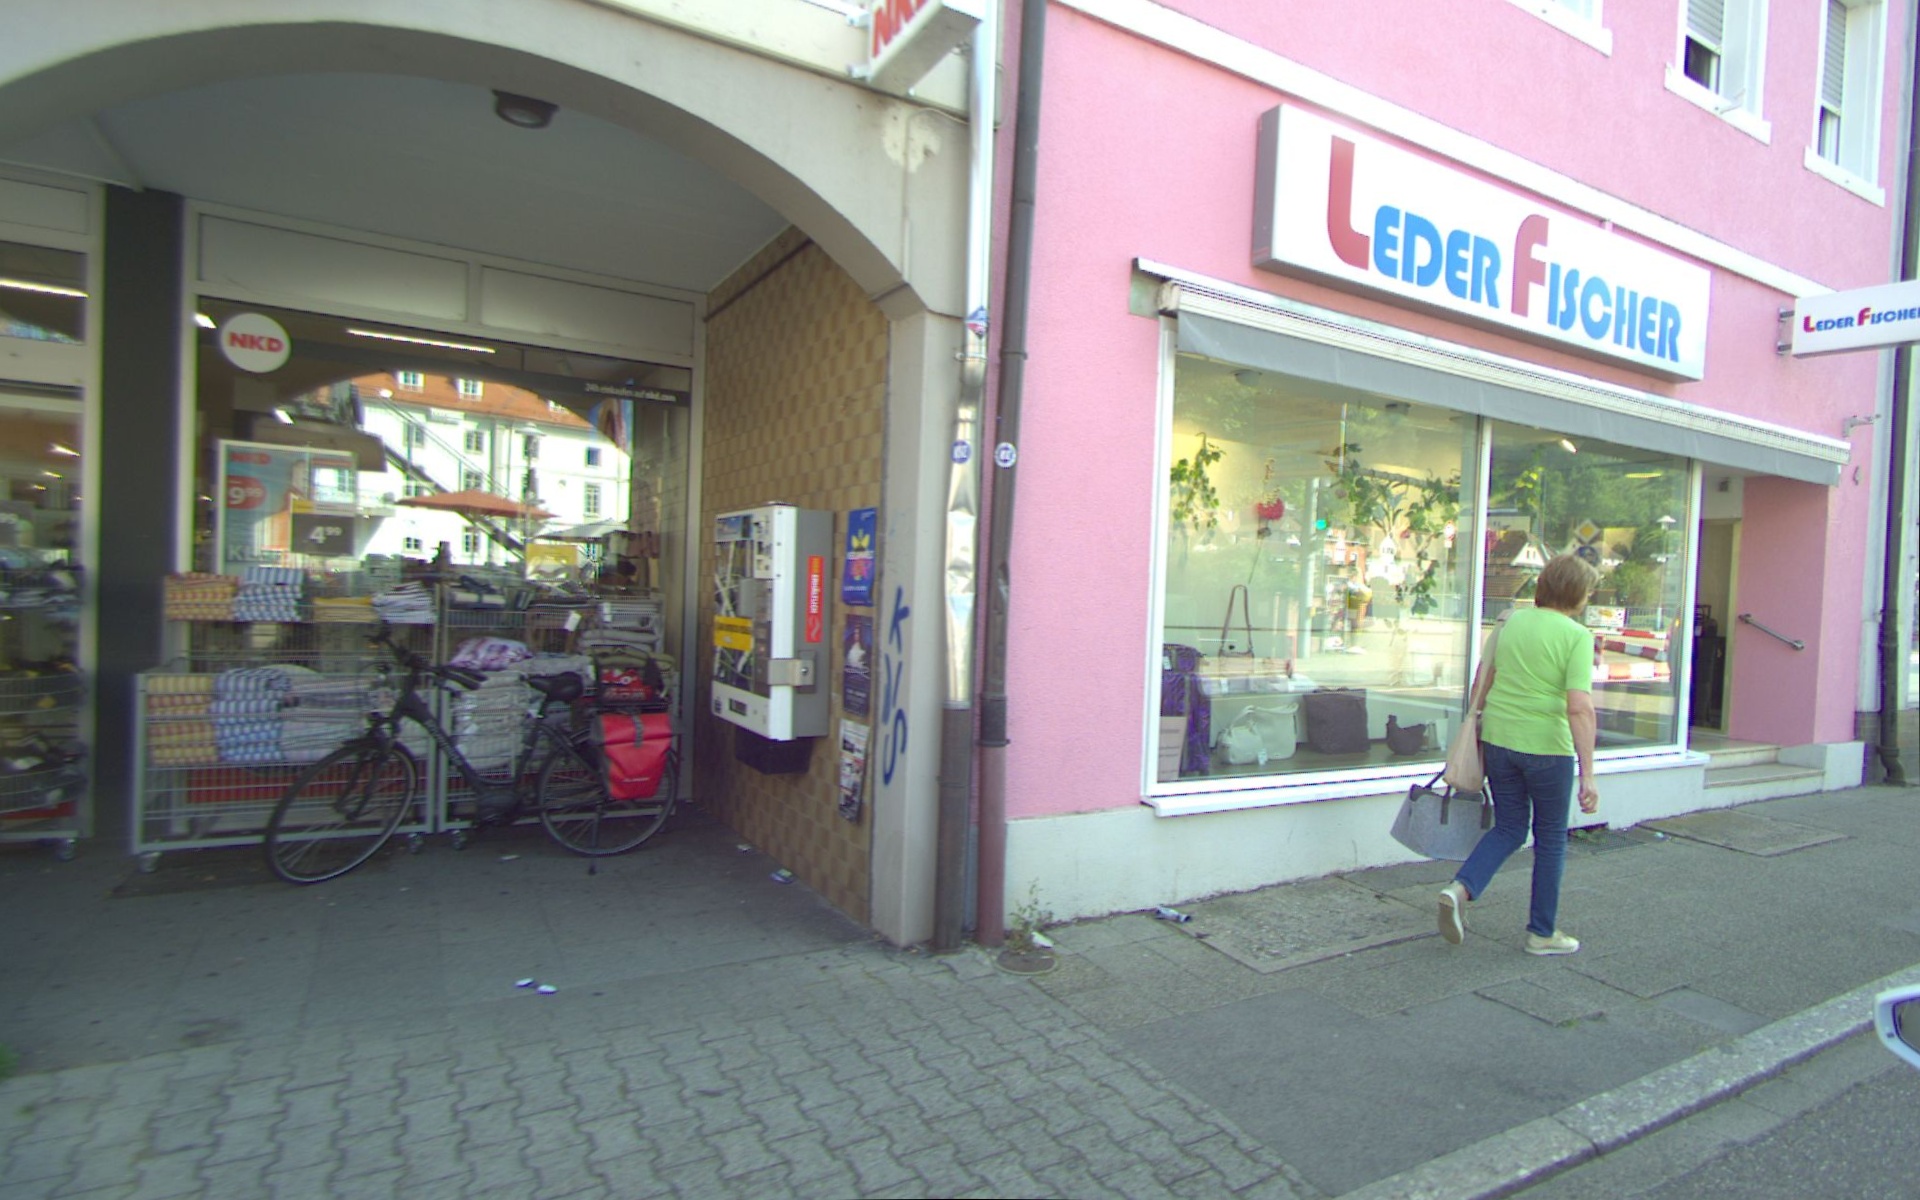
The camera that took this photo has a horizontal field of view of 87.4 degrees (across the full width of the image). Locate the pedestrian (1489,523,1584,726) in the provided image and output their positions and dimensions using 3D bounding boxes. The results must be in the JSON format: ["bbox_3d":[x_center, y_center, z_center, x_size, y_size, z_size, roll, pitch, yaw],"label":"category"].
[{"bbox_3d":[5.203,0.211,9.069,0.566,1.745,0.568,1,1,-44],"label":"pedestrian"}]

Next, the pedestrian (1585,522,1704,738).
[{"bbox_3d":[5.818,0.238,8.582,0.702,1.745,0.674,2,1,26],"label":"pedestrian"}]

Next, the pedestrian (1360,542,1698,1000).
[{"bbox_3d":[2.321,0.614,4.155,0.848,1.654,0.783,1,3,-27],"label":"pedestrian"}]

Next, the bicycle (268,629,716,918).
[{"bbox_3d":[-2.113,0.718,4.703,1.802,1.137,0.517,1,1,-30],"label":"bicycle"}]
